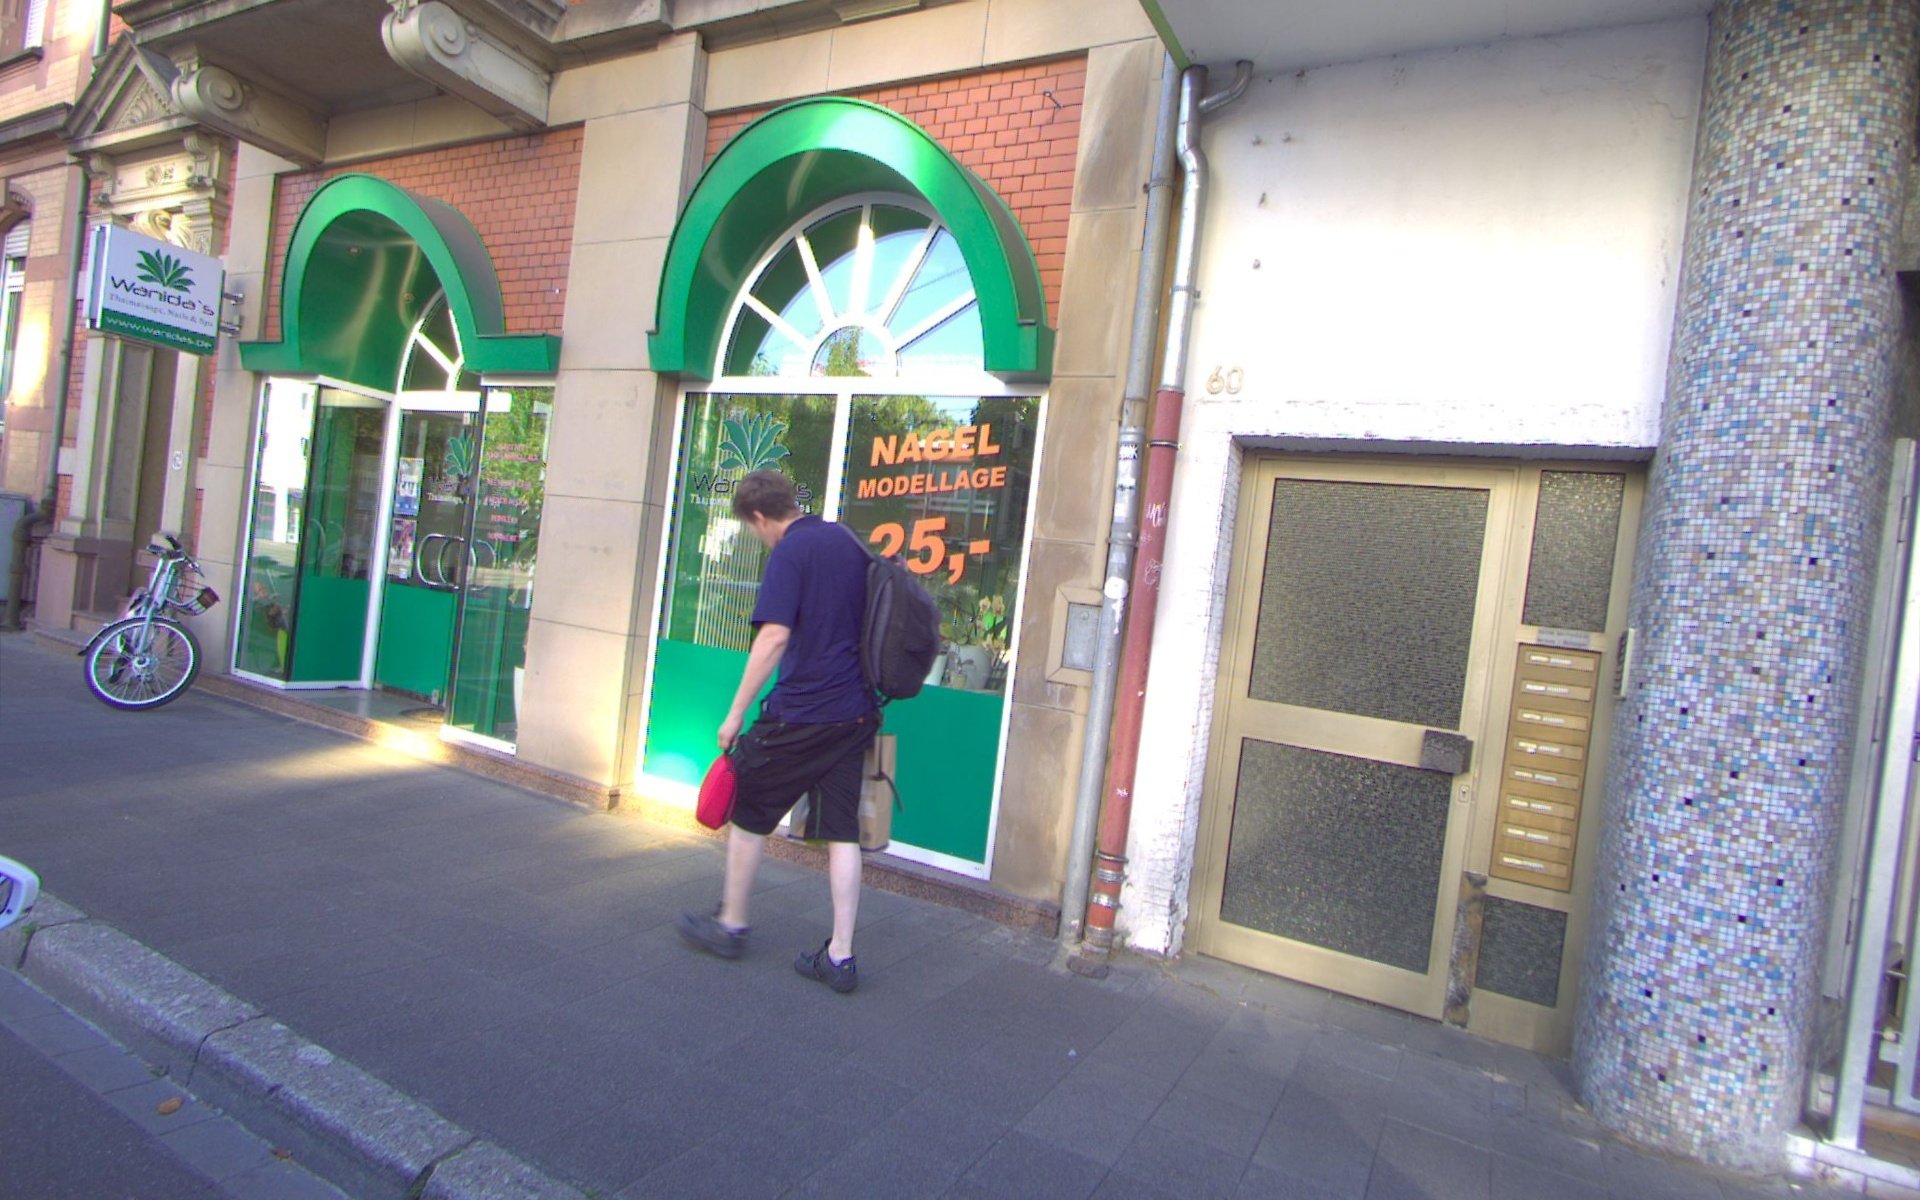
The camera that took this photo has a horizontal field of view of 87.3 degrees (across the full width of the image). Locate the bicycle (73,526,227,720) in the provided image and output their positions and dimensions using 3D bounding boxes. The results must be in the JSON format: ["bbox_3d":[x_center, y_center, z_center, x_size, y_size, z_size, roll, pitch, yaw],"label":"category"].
[{"bbox_3d":[-5.795,0.127,7.160,0.712,1.167,1.635,4,2,-42],"label":"bicycle"}]

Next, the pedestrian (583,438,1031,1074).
[{"bbox_3d":[-0.507,0.441,3.554,1.036,1.816,0.947,7,2,28],"label":"pedestrian"}]
